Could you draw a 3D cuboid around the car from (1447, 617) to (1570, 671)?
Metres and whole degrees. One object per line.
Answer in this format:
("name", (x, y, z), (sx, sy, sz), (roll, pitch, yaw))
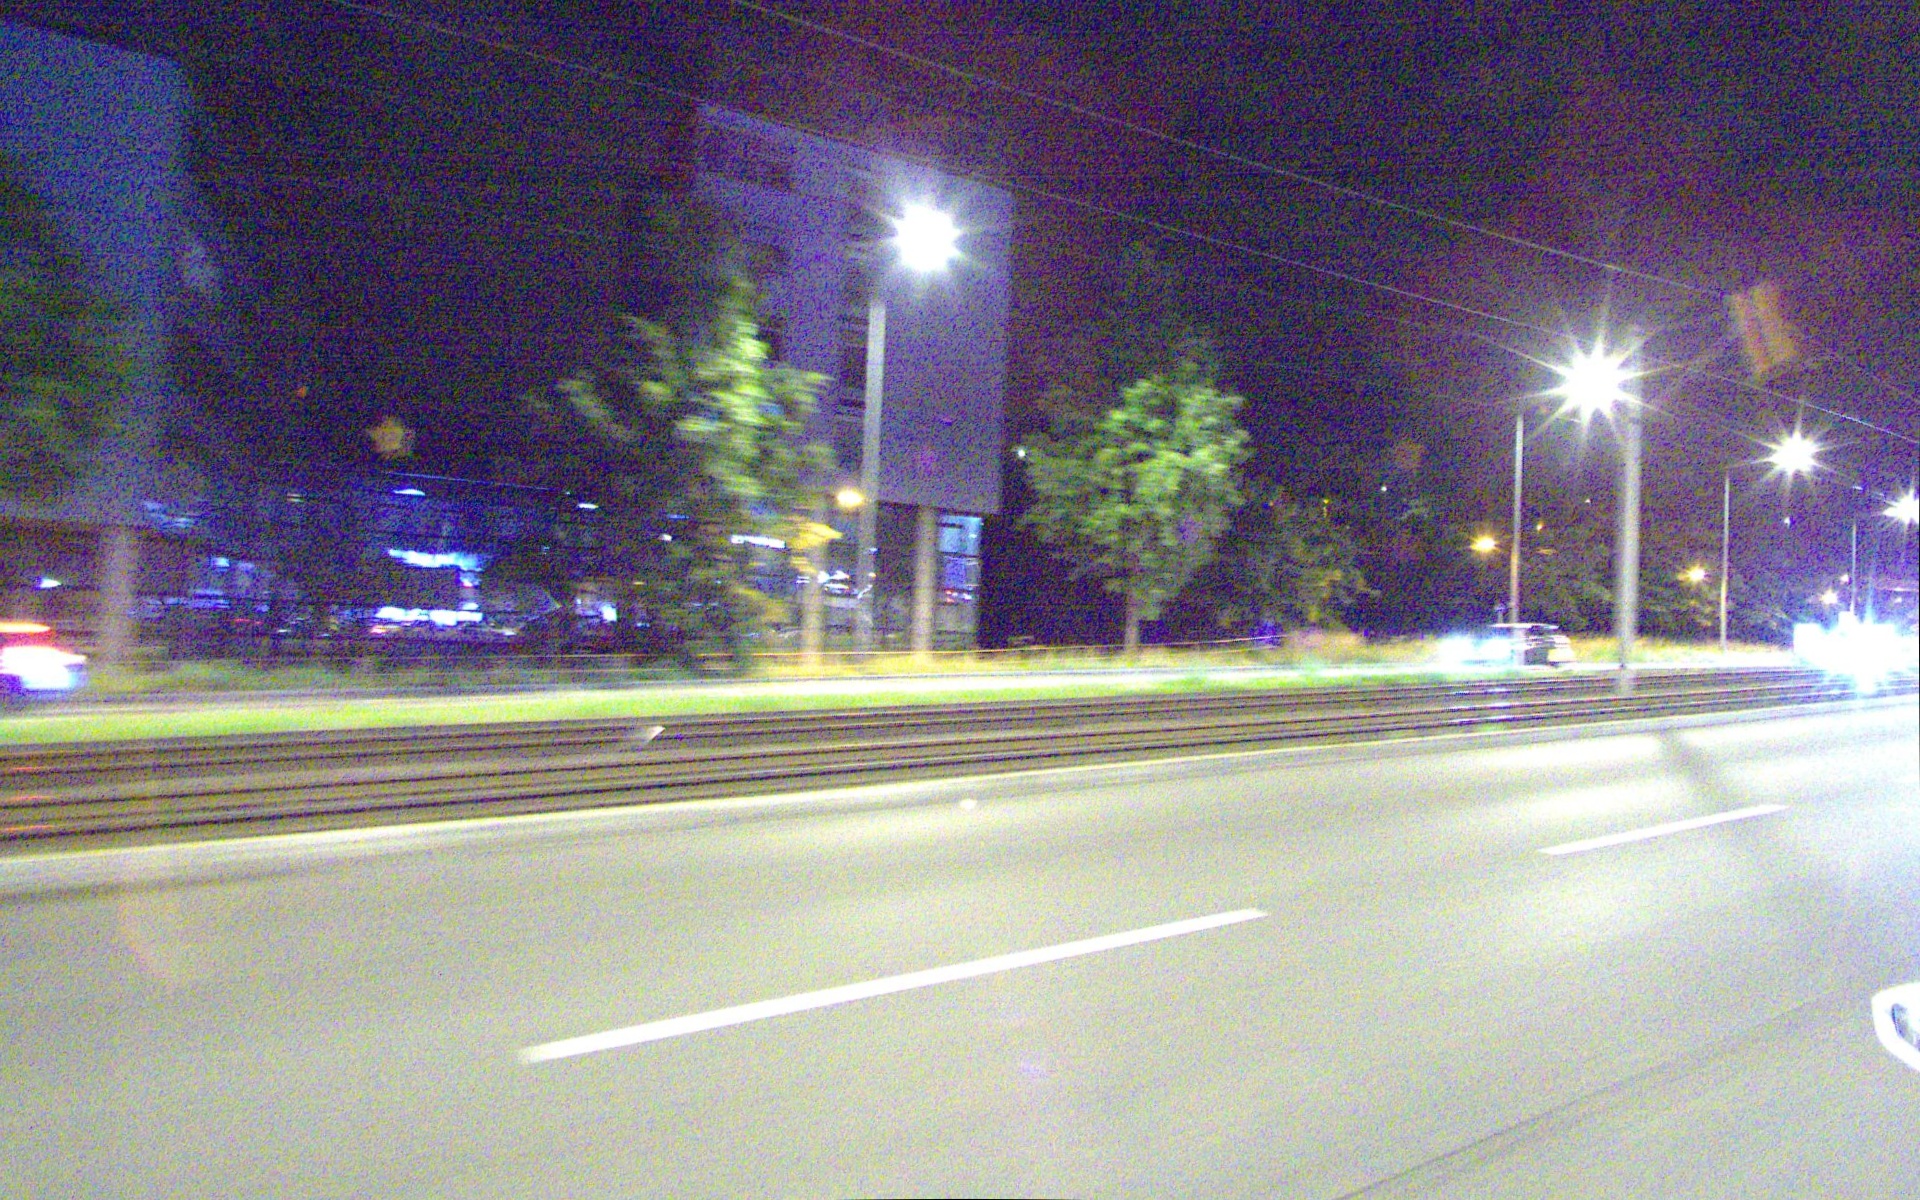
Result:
("car", (18.704, 1.484, 34.224), (4.177, 1.736, 1.771), (2, -1, -30))

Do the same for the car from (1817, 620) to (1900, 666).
("car", (55.171, 2.687, 61.625), (6.891, 2.705, 2.132), (2, -4, -35))

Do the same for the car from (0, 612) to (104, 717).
("car", (-15.682, 0.948, 15.169), (3.862, 1.536, 1.653), (2, -1, -29))
